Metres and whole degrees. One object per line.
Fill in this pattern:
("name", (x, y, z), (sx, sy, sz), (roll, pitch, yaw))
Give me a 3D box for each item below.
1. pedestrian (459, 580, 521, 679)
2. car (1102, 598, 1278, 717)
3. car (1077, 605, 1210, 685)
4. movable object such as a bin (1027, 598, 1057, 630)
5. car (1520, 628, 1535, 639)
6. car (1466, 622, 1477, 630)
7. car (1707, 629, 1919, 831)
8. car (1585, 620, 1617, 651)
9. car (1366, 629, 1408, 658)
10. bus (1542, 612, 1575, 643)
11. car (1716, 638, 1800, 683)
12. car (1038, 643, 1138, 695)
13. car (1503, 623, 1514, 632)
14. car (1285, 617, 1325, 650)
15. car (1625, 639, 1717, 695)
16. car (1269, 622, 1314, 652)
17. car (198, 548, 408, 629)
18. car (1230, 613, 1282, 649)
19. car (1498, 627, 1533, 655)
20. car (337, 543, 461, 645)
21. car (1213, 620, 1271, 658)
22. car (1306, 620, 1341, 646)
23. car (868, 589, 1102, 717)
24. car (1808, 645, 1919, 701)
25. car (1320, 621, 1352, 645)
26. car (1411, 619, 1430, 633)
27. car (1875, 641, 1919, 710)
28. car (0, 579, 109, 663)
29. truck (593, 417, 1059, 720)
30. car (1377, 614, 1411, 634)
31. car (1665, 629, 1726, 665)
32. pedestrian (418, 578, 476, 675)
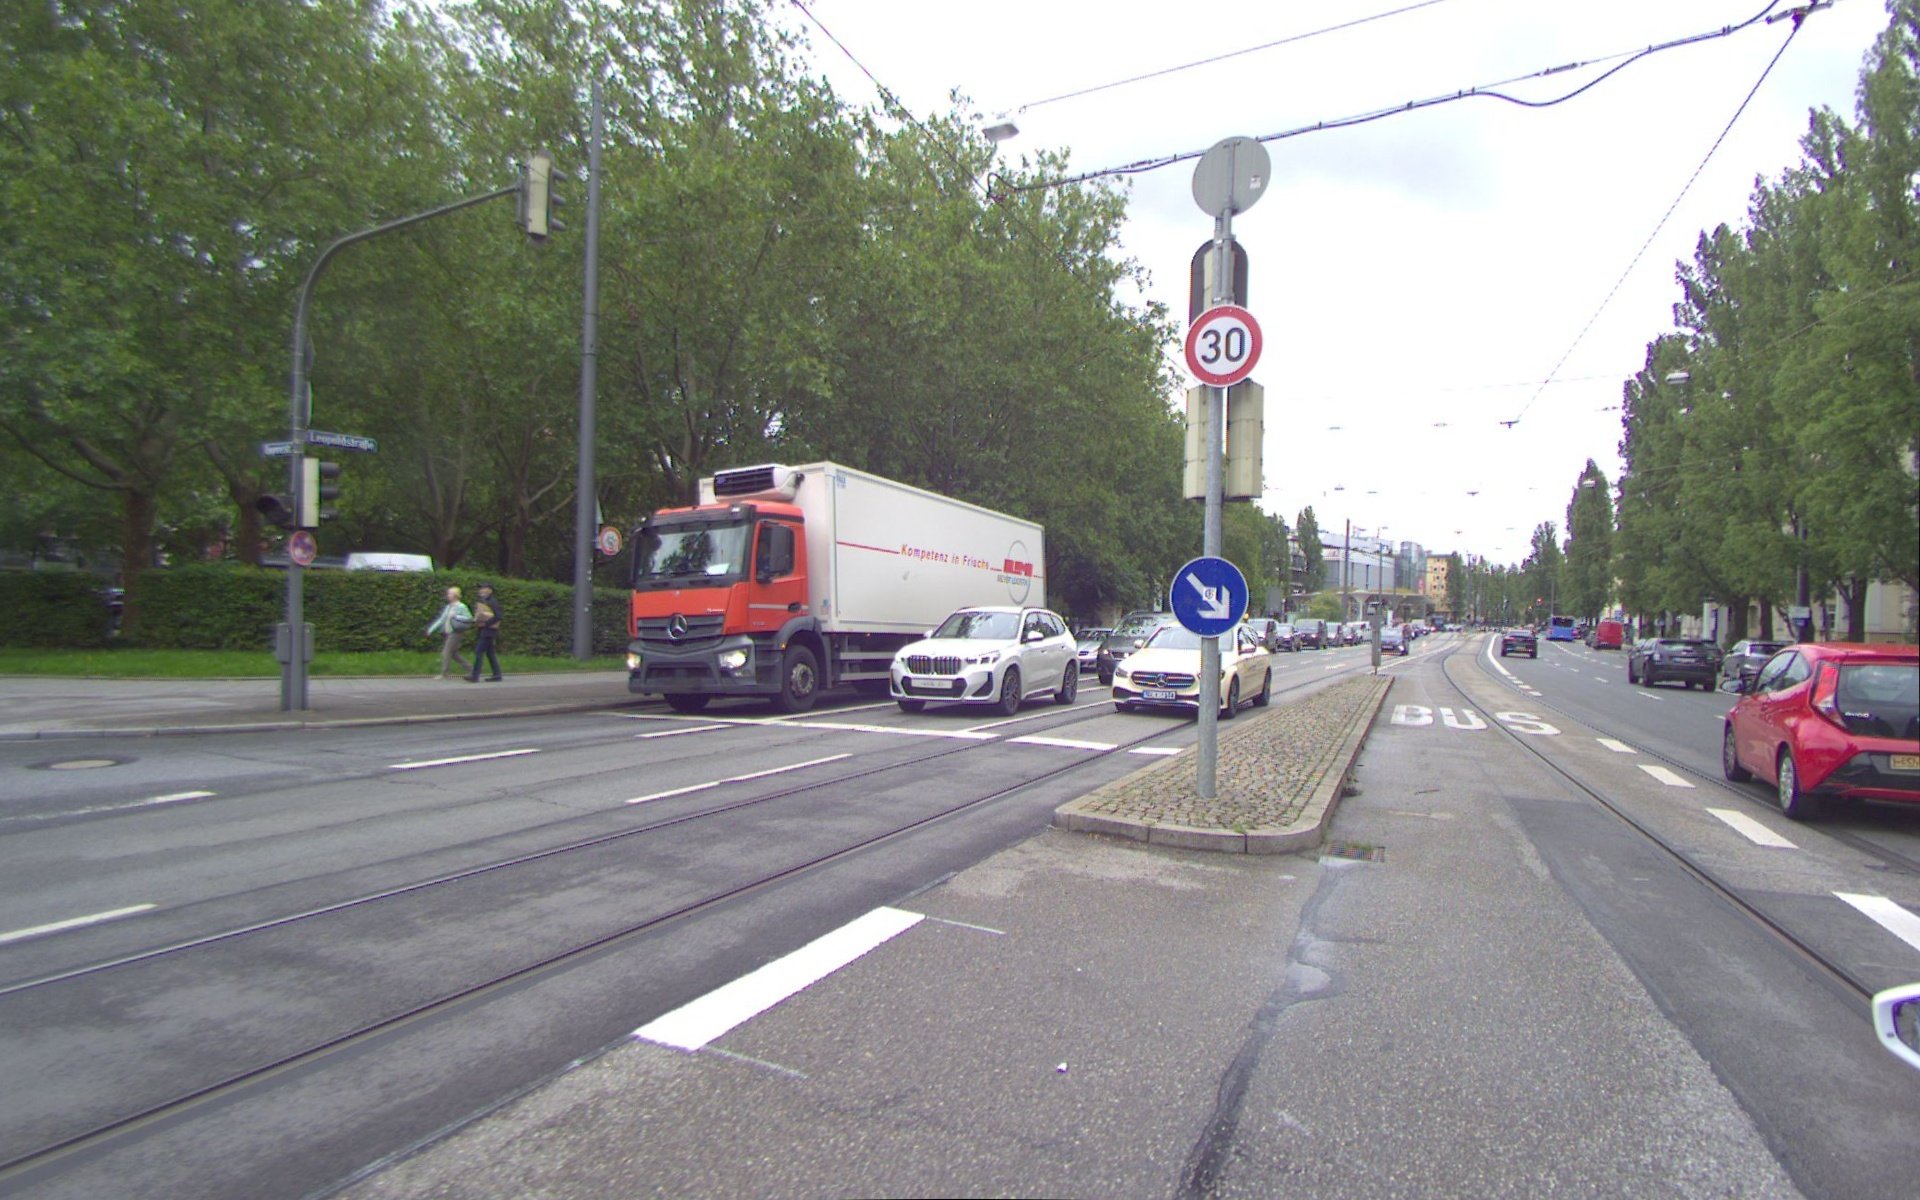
("pedestrian", (-8.245, 0.516, 17.624), (0.672, 1.685, 0.662), (2, 0, 15))
("car", (4.015, 0.878, 16.839), (1.794, 1.660, 4.886), (1, -1, 26))
("car", (4.570, 1.043, 24.419), (1.794, 1.705, 4.885), (1, -1, 27))
("movable object such as a bin", (3.779, 0.643, 46.296), (0.919, 1.371, 1.277), (4, 0, 23))
("car", (83.044, 4.879, 146.954), (1.754, 1.506, 3.995), (2, -1, 28))
("car", (93.047, 4.743, 182.739), (1.754, 1.506, 3.995), (2, -1, 28))
("car", (8.008, 1.040, 8.948), (1.604, 1.459, 3.372), (3, 0, 28))
("car", (59.530, 3.231, 93.349), (1.963, 2.609, 4.672), (2, 1, 28))
("car", (23.758, 2.407, 55.828), (1.772, 1.542, 4.349), (1, -2, 28))
("bus", (75.582, 3.358, 127.051), (2.862, 3.442, 10.789), (2, 1, 28))
("car", (32.829, 2.456, 41.473), (1.771, 1.633, 4.542), (1, -1, 26))
("car", (3.960, 2.046, 30.512), (1.705, 1.429, 4.098), (-2, -2, 27))
("car", (111.302, 5.539, 203.928), (1.778, 1.616, 3.993), (2, -3, 31))
("car", (22.714, 2.203, 66.013), (1.772, 2.017, 5.033), (1, -1, 28))
("car", (22.015, 2.015, 31.236), (1.754, 1.506, 3.995), (2, -1, 28))
("car", (19.321, 2.136, 58.464), (1.772, 1.656, 4.582), (1, -1, 28))
("car", (-22.617, -0.392, 34.914), (1.964, 2.569, 5.852), (2, 1, 30))
("car", (15.566, 1.615, 52.669), (1.772, 1.803, 4.467), (1, -1, 28))
("car", (33.879, 2.488, 61.357), (1.709, 1.569, 4.570), (1, -1, 27))
("car", (-13.585, -0.030, 24.622), (1.970, 2.039, 4.608), (1, -5, -21))
("car", (13.473, 1.851, 47.785), (1.772, 1.689, 4.349), (1, -1, 28))
("car", (26.097, 2.333, 72.076), (1.772, 1.812, 4.513), (-1, -2, 28))
("car", (0.615, 0.782, 16.317), (1.885, 1.705, 4.886), (1, -1, 26))
("car", (27.075, 2.121, 29.887), (1.771, 1.417, 4.377), (1, -1, 26))
("car", (28.980, 2.545, 77.387), (1.772, 1.812, 4.513), (-1, -2, 28))
("car", (56.617, 3.244, 123.460), (1.772, 1.687, 4.512), (-1, -2, 28))
("car", (24.260, 1.875, 24.471), (1.771, 1.633, 4.301), (1, -1, 26))
("car", (-21.768, 0.439, 22.809), (1.742, 1.787, 3.524), (2, 1, 4))
("truck", (-1.489, -0.259, 19.220), (2.697, 4.033, 11.703), (0, -2, 27))
("car", (41.617, 2.302, 96.325), (1.779, 1.812, 4.496), (-1, -2, 41))
("car", (38.955, 2.441, 53.301), (1.771, 1.766, 4.695), (1, -1, 26))
("pedestrian", (-9.098, 0.466, 17.823), (0.672, 1.685, 0.555), (2, 0, 15))
